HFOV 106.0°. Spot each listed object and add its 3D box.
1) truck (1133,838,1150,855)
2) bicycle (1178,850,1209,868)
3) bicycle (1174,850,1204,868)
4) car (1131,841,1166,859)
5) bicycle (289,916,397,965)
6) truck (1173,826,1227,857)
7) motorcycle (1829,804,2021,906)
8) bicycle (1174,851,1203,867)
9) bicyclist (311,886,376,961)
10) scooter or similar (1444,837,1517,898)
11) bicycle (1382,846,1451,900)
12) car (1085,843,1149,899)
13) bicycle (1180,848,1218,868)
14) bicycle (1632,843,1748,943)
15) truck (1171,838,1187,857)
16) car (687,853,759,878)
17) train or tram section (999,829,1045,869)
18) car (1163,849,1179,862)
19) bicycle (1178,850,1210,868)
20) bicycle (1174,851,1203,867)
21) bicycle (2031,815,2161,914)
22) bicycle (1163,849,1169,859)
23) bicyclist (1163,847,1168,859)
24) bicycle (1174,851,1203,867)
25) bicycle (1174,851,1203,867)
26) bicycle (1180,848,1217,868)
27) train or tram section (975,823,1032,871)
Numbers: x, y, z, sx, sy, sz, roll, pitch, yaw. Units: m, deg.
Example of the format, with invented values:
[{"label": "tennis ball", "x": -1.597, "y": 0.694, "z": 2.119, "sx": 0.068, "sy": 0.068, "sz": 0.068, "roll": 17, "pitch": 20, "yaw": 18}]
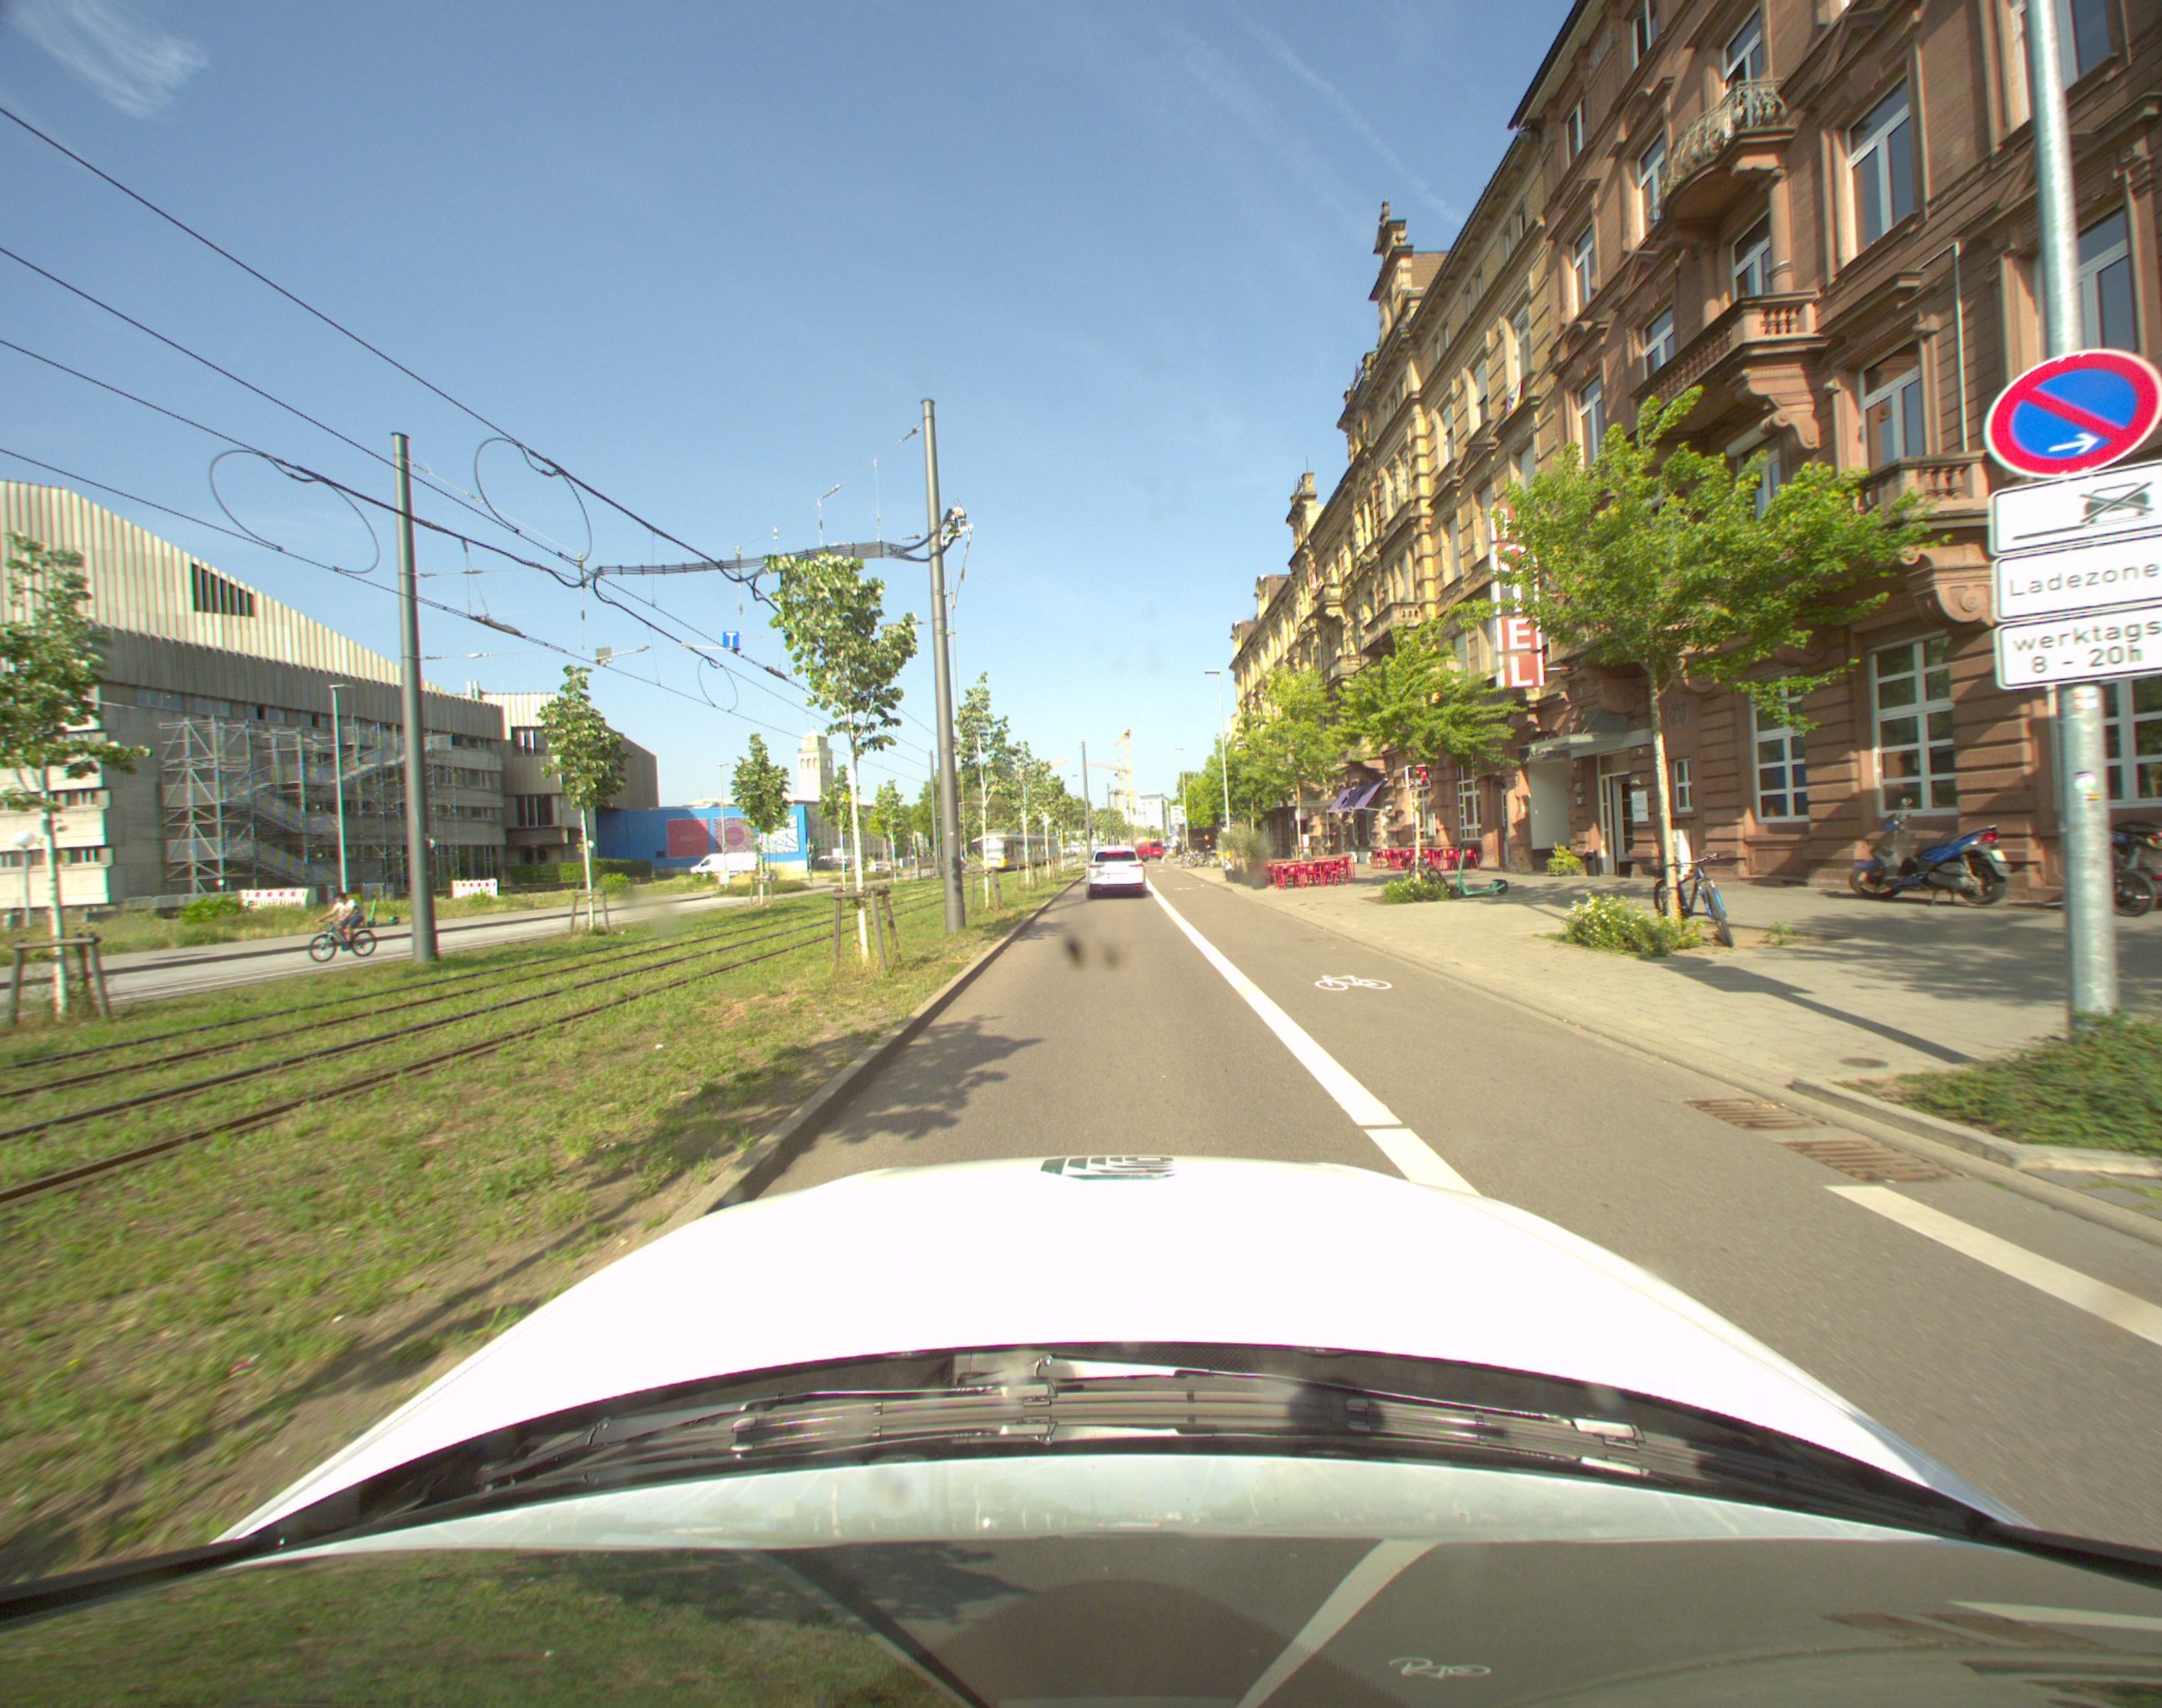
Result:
[{"label": "truck", "x": 8.719, "y": -1.118, "z": 117.369, "sx": 2.203, "sy": 2.318, "sz": 5.896, "roll": -3, "pitch": 0, "yaw": 4}, {"label": "bicycle", "x": 7.295, "y": 0.348, "z": 52.845, "sx": 1.947, "sy": 0.986, "sz": 0.471, "roll": -5, "pitch": 0, "yaw": 3}, {"label": "bicycle", "x": 7.375, "y": 0.350, "z": 55.700, "sx": 1.925, "sy": 1.013, "sz": 0.441, "roll": -5, "pitch": 0, "yaw": 5}, {"label": "car", "x": 7.002, "y": -0.402, "z": 85.343, "sx": 2.000, "sy": 1.684, "sz": 4.340, "roll": -3, "pitch": 0, "yaw": -20}, {"label": "bicycle", "x": -18.164, "y": 2.098, "z": 20.120, "sx": 0.659, "sy": 0.961, "sz": 2.079, "roll": -4, "pitch": 0, "yaw": 2}, {"label": "truck", "x": 12.395, "y": -1.255, "z": 85.345, "sx": 2.518, "sy": 3.011, "sz": 6.913, "roll": -3, "pitch": 0, "yaw": -20}, {"label": "motorcycle", "x": 10.932, "y": 0.014, "z": 10.662, "sx": 0.461, "sy": 1.175, "sz": 1.946, "roll": -5, "pitch": 0, "yaw": 2}, {"label": "bicycle", "x": 7.574, "y": 0.336, "z": 57.447, "sx": 1.925, "sy": 0.945, "sz": 0.429, "roll": -5, "pitch": 0, "yaw": 5}, {"label": "bicyclist", "x": -18.196, "y": 1.703, "z": 20.102, "sx": 0.644, "sy": 1.736, "sz": 0.919, "roll": -4, "pitch": -1, "yaw": 1}, {"label": "scooter or similar", "x": 8.294, "y": 0.283, "z": 16.929, "sx": 1.250, "sy": 1.157, "sz": 0.340, "roll": -5, "pitch": -1, "yaw": 5}, {"label": "bicycle", "x": 7.508, "y": 0.402, "z": 18.326, "sx": 0.594, "sy": 1.122, "sz": 1.923, "roll": -3, "pitch": 0, "yaw": -4}, {"label": "car", "x": 1.124, "y": 0.503, "z": 26.163, "sx": 1.810, "sy": 1.590, "sz": 4.408, "roll": -2, "pitch": 0, "yaw": 2}, {"label": "bicycle", "x": 7.377, "y": 0.250, "z": 51.015, "sx": 2.230, "sy": 1.104, "sz": 0.589, "roll": -5, "pitch": 0, "yaw": 3}, {"label": "bicycle", "x": 7.389, "y": 0.434, "z": 9.964, "sx": 0.501, "sy": 1.060, "sz": 1.721, "roll": -5, "pitch": 1, "yaw": 16}, {"label": "truck", "x": 14.119, "y": -0.942, "z": 117.759, "sx": 1.985, "sy": 2.508, "sz": 4.004, "roll": -3, "pitch": 0, "yaw": 4}, {"label": "car", "x": -38.323, "y": 1.205, "z": 87.374, "sx": 6.896, "sy": 2.638, "sz": 2.498, "roll": 0, "pitch": -1, "yaw": -20}, {"label": "train or tram section", "x": -5.817, "y": -0.448, "z": 82.612, "sx": 2.886, "sy": 3.586, "sz": 12.943, "roll": -3, "pitch": 0, "yaw": 3}, {"label": "car", "x": 11.029, "y": 0.185, "z": 99.765, "sx": 1.640, "sy": 1.499, "sz": 3.535, "roll": -3, "pitch": 0, "yaw": 9}, {"label": "bicycle", "x": 7.251, "y": 0.346, "z": 52.366, "sx": 1.926, "sy": 0.986, "sz": 0.471, "roll": -5, "pitch": 0, "yaw": 3}, {"label": "bicycle", "x": 7.512, "y": 0.334, "z": 57.006, "sx": 1.925, "sy": 0.945, "sz": 0.429, "roll": -5, "pitch": 0, "yaw": 5}, {"label": "bicycle", "x": 11.341, "y": 0.097, "z": 8.955, "sx": 0.394, "sy": 1.018, "sz": 1.258, "roll": -3, "pitch": 0, "yaw": 7}, {"label": "bicycle", "x": 13.446, "y": 0.044, "z": 129.480, "sx": 0.778, "sy": 1.496, "sz": 2.803, "roll": -3, "pitch": 0, "yaw": 3}, {"label": "bicyclist", "x": 13.437, "y": -0.147, "z": 129.319, "sx": 0.706, "sy": 1.895, "sz": 0.844, "roll": -3, "pitch": 0, "yaw": 3}, {"label": "bicycle", "x": 7.468, "y": 0.332, "z": 56.624, "sx": 1.925, "sy": 0.945, "sz": 0.441, "roll": -5, "pitch": 0, "yaw": 5}, {"label": "bicycle", "x": 7.419, "y": 0.330, "z": 56.146, "sx": 1.925, "sy": 0.945, "sz": 0.441, "roll": -5, "pitch": 0, "yaw": 5}, {"label": "bicycle", "x": 7.422, "y": 0.253, "z": 51.569, "sx": 2.230, "sy": 1.104, "sz": 0.519, "roll": -5, "pitch": 0, "yaw": 3}, {"label": "train or tram section", "x": -6.440, "y": -0.513, "z": 69.962, "sx": 2.887, "sy": 3.586, "sz": 12.485, "roll": -3, "pitch": 0, "yaw": 2}]
